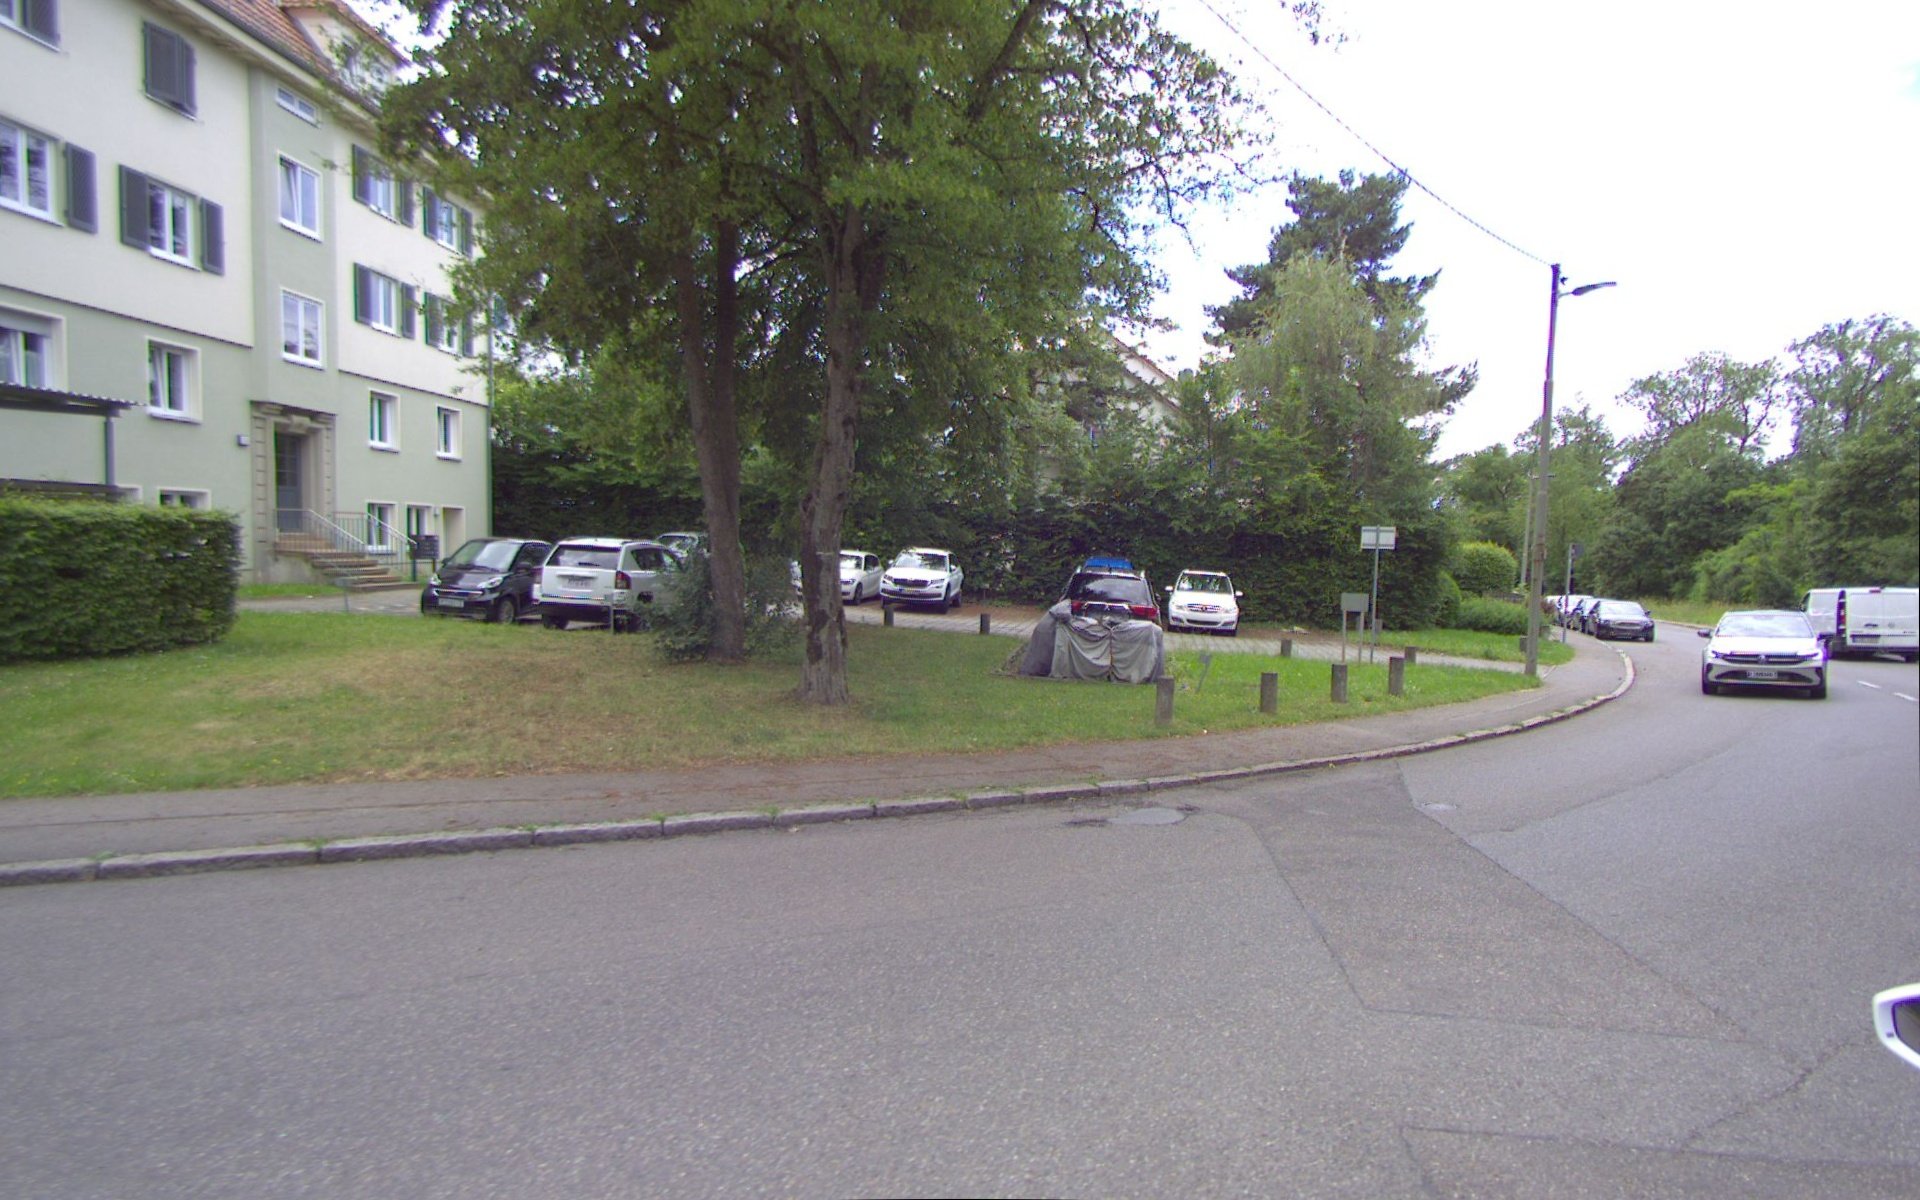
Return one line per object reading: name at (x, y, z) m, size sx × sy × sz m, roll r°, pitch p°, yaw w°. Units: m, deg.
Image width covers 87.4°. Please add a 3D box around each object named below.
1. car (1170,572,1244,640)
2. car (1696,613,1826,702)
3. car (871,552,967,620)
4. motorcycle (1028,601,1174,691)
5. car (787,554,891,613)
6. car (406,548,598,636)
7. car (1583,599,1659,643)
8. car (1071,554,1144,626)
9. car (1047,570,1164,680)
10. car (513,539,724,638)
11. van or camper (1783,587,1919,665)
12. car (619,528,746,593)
car at (6.555, 0.076, 26.998) m, size 1.712 × 1.615 × 4.273 m, roll 3°, pitch 2°, yaw 12°
car at (15.105, 1.000, 18.866) m, size 1.705 × 1.476 × 4.058 m, roll -2°, pitch -1°, yaw 41°
car at (-1.055, -0.468, 28.213) m, size 1.968 × 1.700 × 4.498 m, roll 2°, pitch 3°, yaw 7°
motorcycle at (2.078, 0.651, 14.770) m, size 2.025 × 1.167 × 0.865 m, roll 3°, pitch 2°, yaw 10°
car at (-3.399, -0.545, 29.085) m, size 1.841 × 1.513 × 4.200 m, roll 3°, pitch 3°, yaw 10°
car at (-8.359, -0.219, 18.674) m, size 1.477 × 1.418 × 3.603 m, roll 3°, pitch 3°, yaw 10°
car at (24.469, 0.742, 37.301) m, size 1.708 × 1.437 × 4.499 m, roll 1°, pitch 1°, yaw 25°
car at (3.969, -0.347, 27.659) m, size 1.712 × 1.756 × 4.265 m, roll 2°, pitch 3°, yaw 5°
car at (2.590, 0.314, 17.589) m, size 1.712 × 1.615 × 4.335 m, roll 3°, pitch 2°, yaw 10°
car at (-6.175, -0.297, 18.831) m, size 1.917 × 1.554 × 4.591 m, roll 3°, pitch 3°, yaw 7°
van or camper at (24.988, 0.642, 28.195) m, size 1.989 × 1.983 × 4.888 m, roll 0°, pitch 1°, yaw 28°
car at (-8.204, -1.190, 30.195) m, size 1.712 × 1.754 × 4.628 m, roll 3°, pitch 3°, yaw 12°
